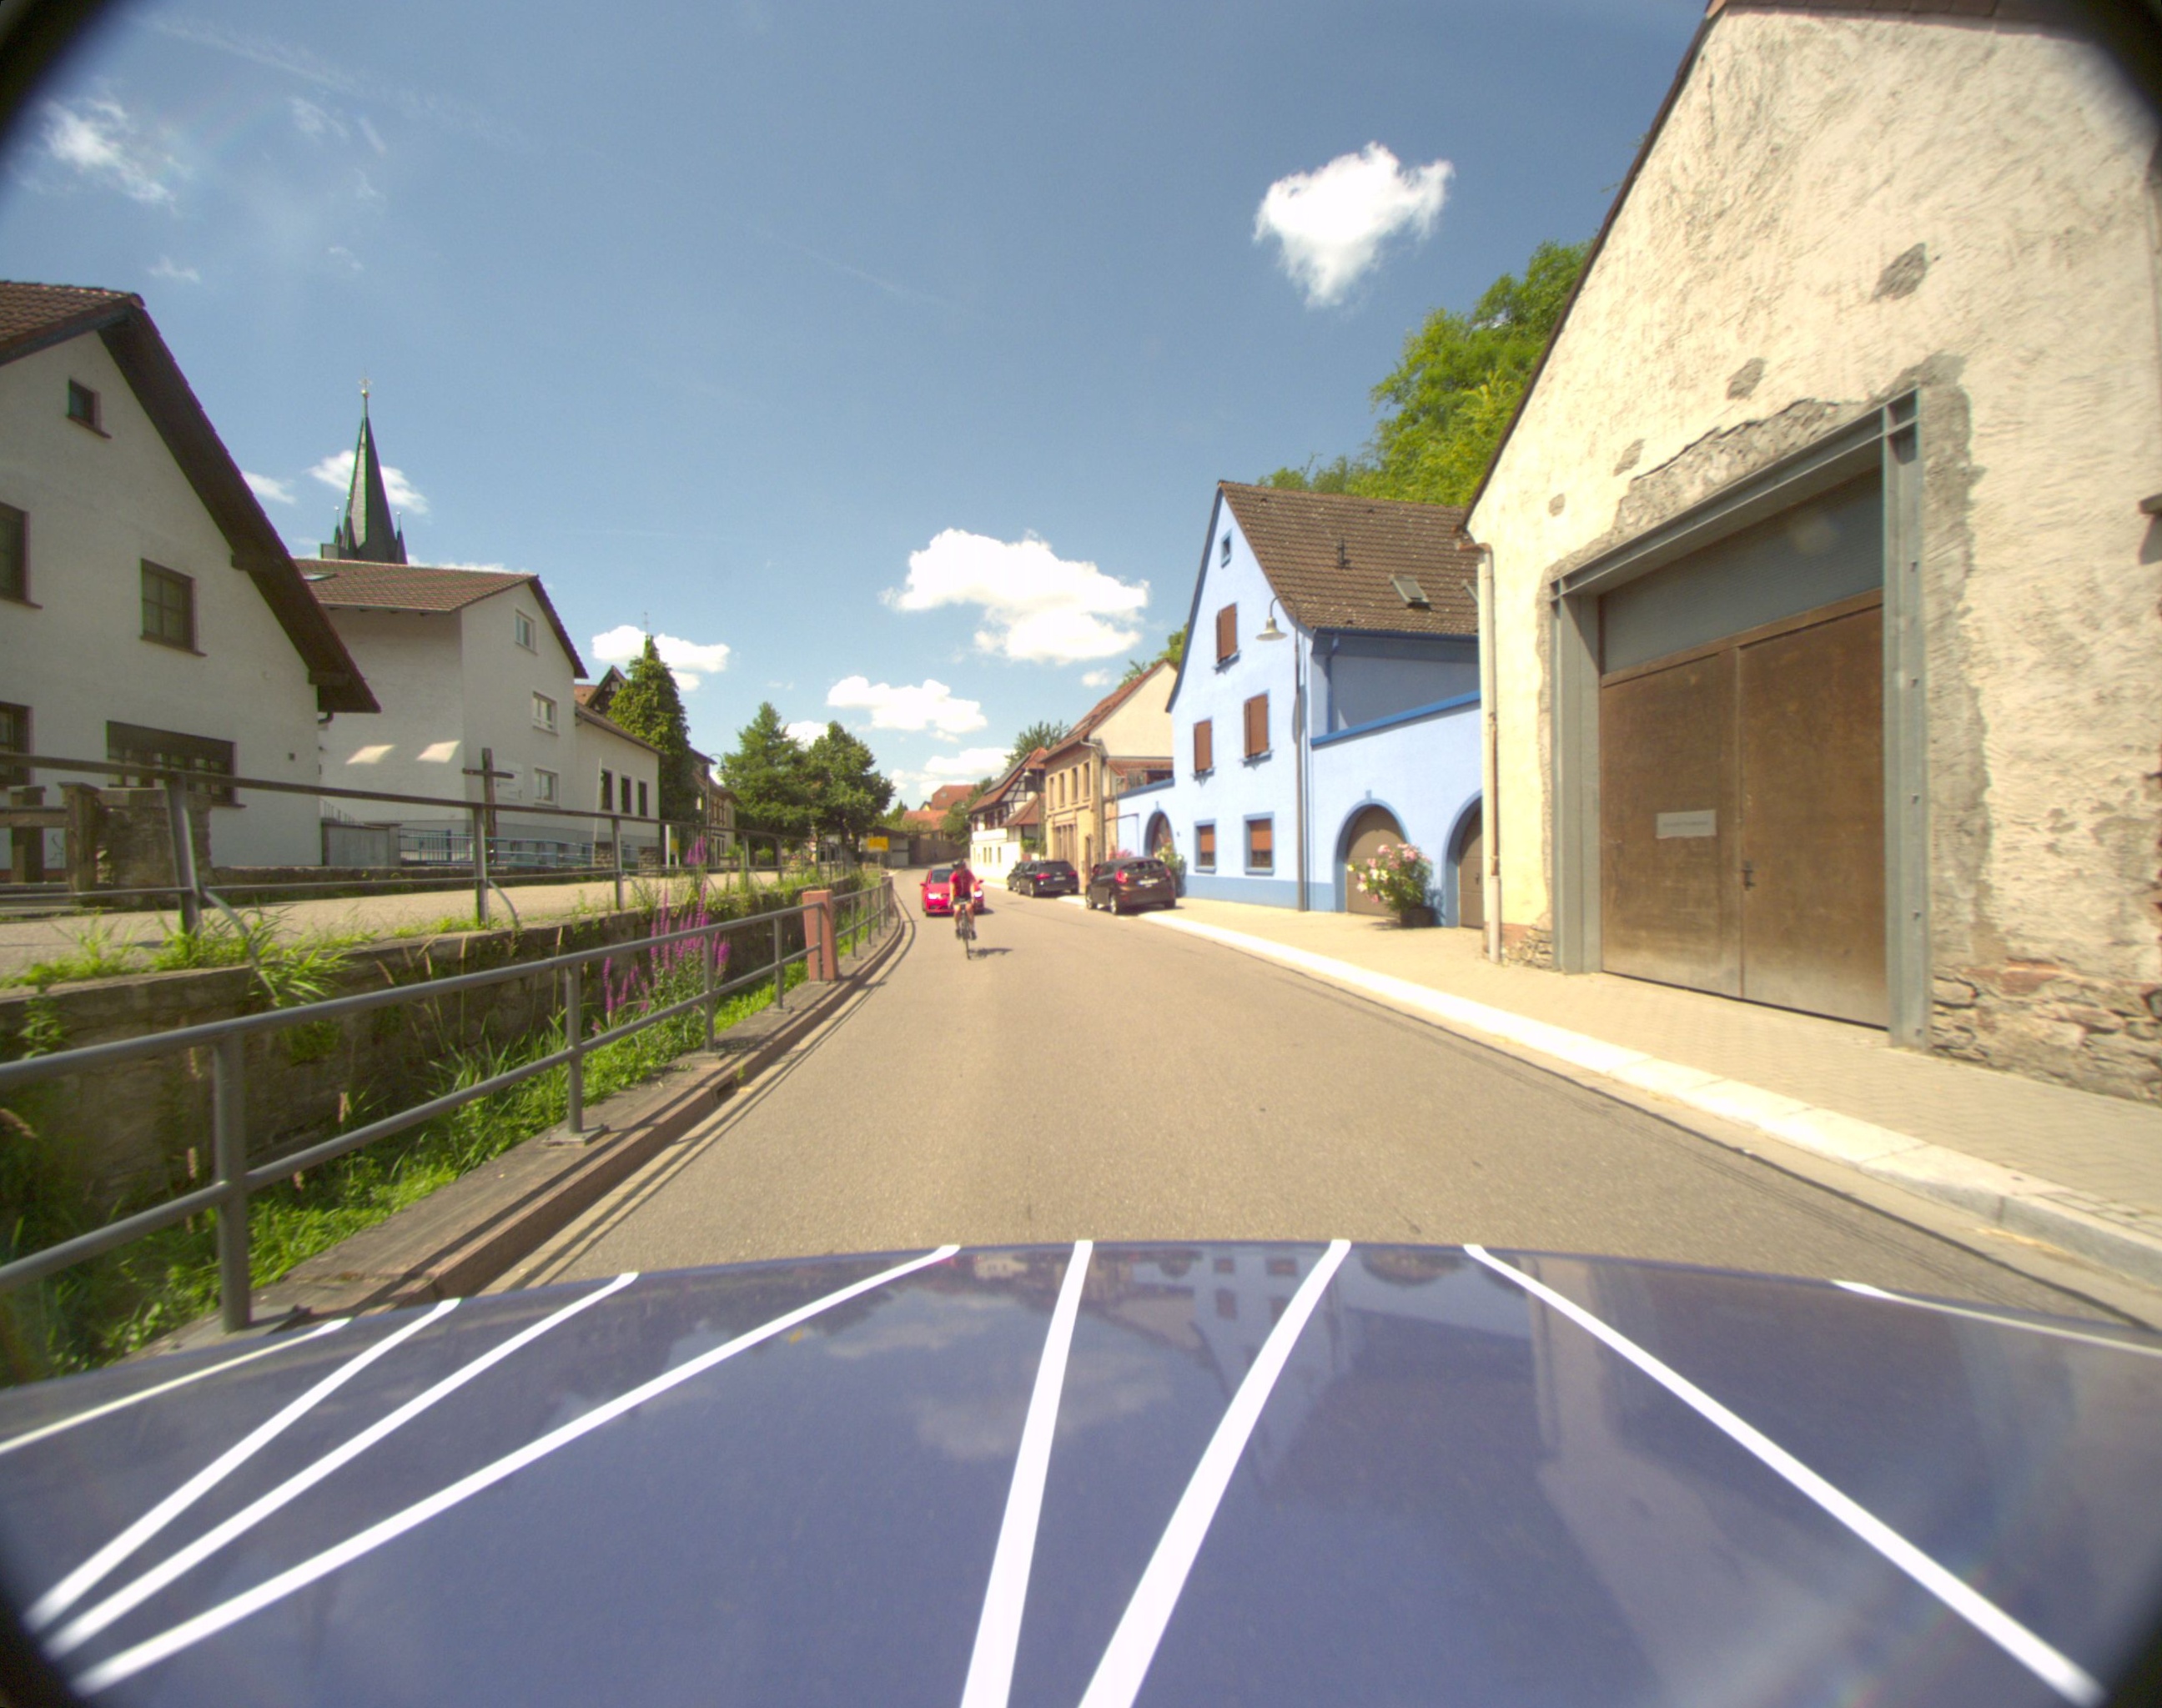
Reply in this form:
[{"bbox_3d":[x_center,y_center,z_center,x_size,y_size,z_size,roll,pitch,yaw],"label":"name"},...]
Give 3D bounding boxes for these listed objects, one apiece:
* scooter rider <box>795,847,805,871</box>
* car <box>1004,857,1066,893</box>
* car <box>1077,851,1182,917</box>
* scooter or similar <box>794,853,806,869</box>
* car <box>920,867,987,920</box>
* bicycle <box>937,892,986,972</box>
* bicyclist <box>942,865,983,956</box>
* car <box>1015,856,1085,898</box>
[{"bbox_3d":[-21.236,0.377,57.427,0.643,1.722,0.553,-2,1,-14],"label":"scooter rider"},{"bbox_3d":[-2.239,0.937,35.988,1.964,1.457,4.539,-2,1,-16],"label":"car"},{"bbox_3d":[1.233,0.790,21.101,1.723,1.521,3.852,-5,0,-14],"label":"car"},{"bbox_3d":[-21.264,0.520,57.518,0.643,1.135,1.809,0,0,-14],"label":"scooter or similar"},{"bbox_3d":[-3.892,1.119,22.834,1.671,1.344,3.490,-3,0,-14],"label":"car"},{"bbox_3d":[-1.902,1.218,12.342,0.531,1.070,2.053,-3,0,-3],"label":"bicycle"},{"bbox_3d":[-1.925,0.901,12.431,0.532,1.396,0.755,-3,1,-3],"label":"bicyclist"},{"bbox_3d":[-1.365,0.907,31.002,1.892,1.455,4.663,-4,0,-13],"label":"car"}]
